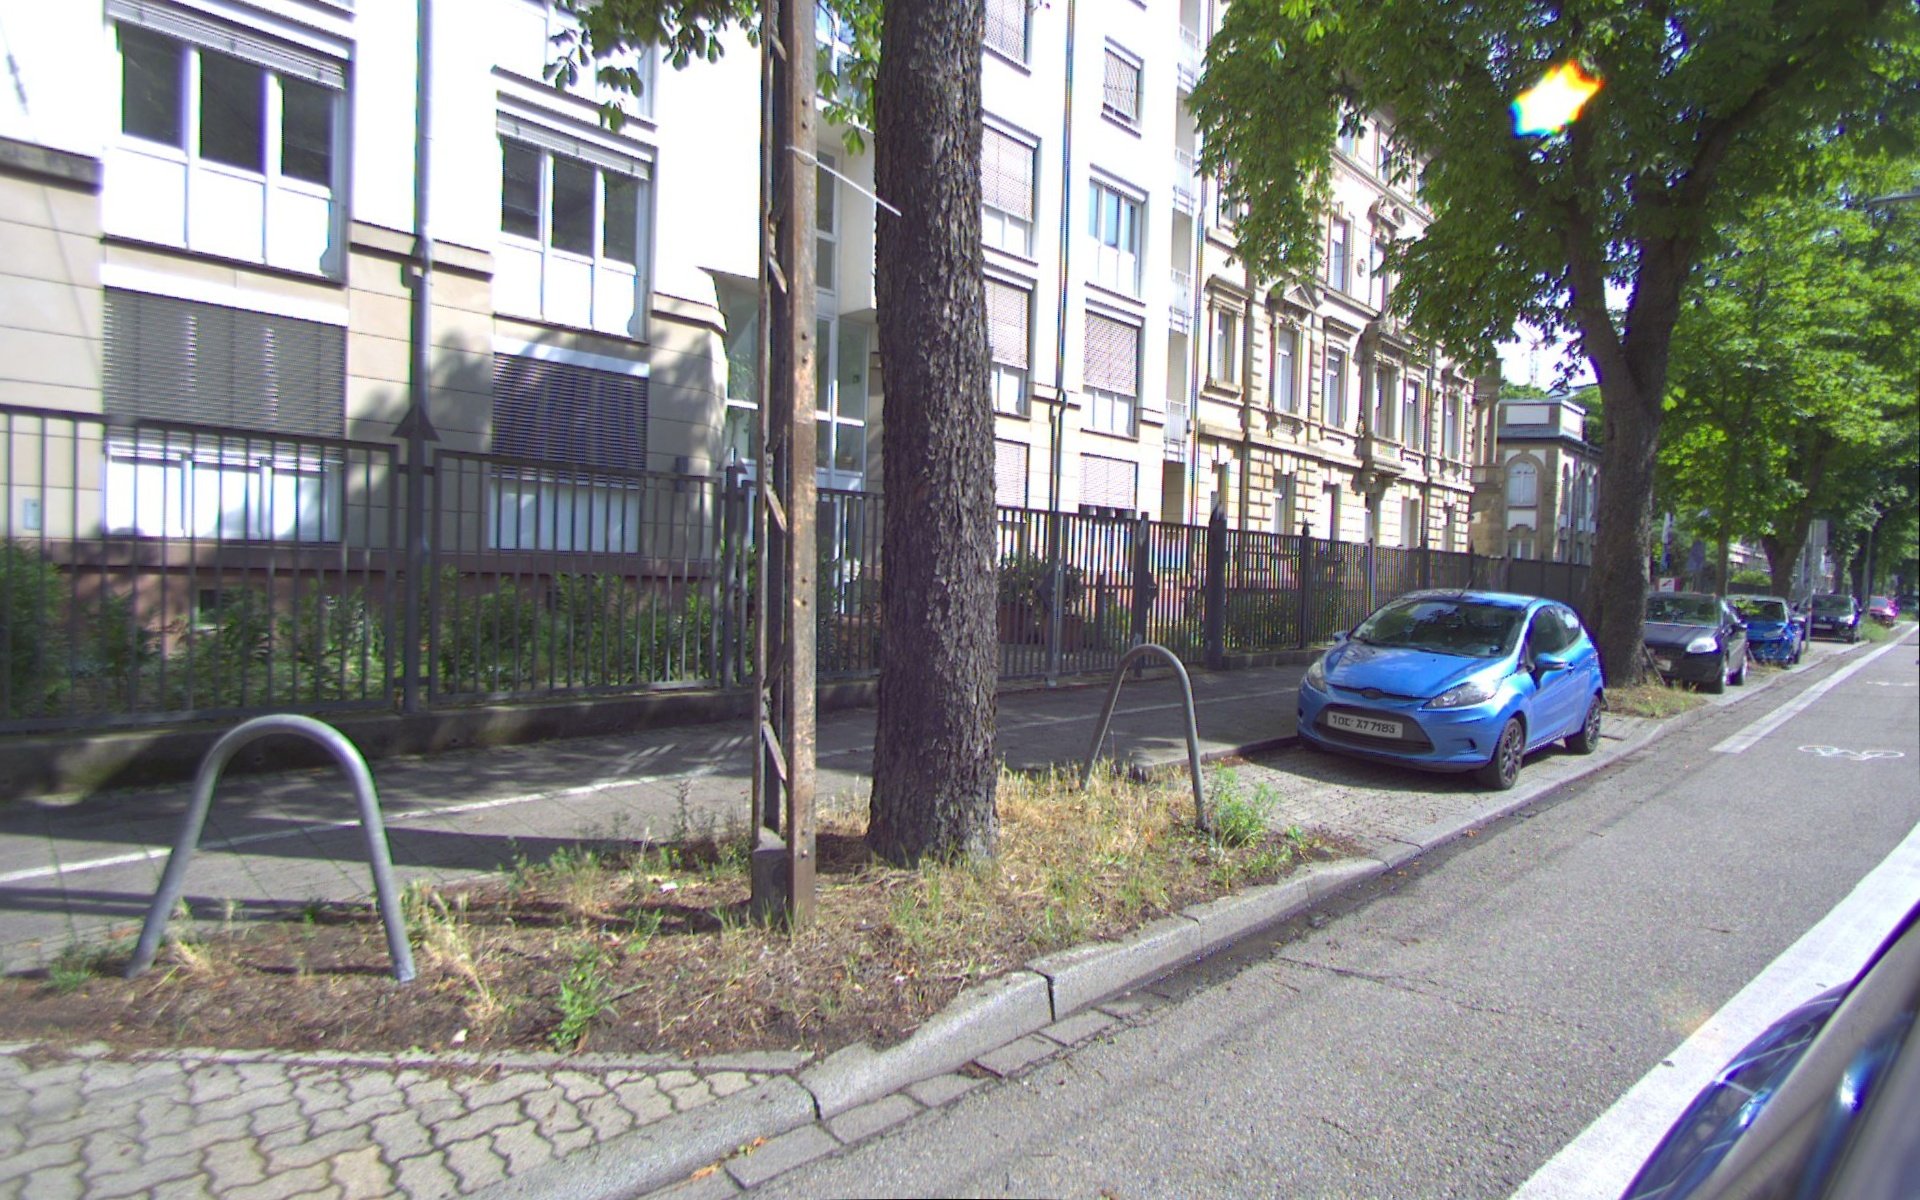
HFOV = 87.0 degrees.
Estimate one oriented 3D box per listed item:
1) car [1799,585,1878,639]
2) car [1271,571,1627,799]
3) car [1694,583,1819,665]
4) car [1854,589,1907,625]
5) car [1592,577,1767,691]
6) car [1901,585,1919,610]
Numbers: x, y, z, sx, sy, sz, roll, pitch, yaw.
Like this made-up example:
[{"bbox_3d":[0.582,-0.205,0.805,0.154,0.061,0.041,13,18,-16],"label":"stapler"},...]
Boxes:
[{"bbox_3d":[30.274,0.375,34.849,1.741,1.592,3.603,7,5,44],"label":"car"},{"bbox_3d":[4.455,0.580,8.982,3.601,1.493,1.644,0,5,-45],"label":"car"},{"bbox_3d":[17.309,0.456,21.933,1.676,1.493,3.603,7,5,44],"label":"car"},{"bbox_3d":[46.406,0.343,50.978,1.741,1.592,3.868,7,5,44],"label":"car"},{"bbox_3d":[11.583,0.461,16.213,1.676,1.493,3.603,7,5,44],"label":"car"},{"bbox_3d":[63.990,-0.150,67.427,1.741,1.592,3.868,7,5,44],"label":"car"}]
